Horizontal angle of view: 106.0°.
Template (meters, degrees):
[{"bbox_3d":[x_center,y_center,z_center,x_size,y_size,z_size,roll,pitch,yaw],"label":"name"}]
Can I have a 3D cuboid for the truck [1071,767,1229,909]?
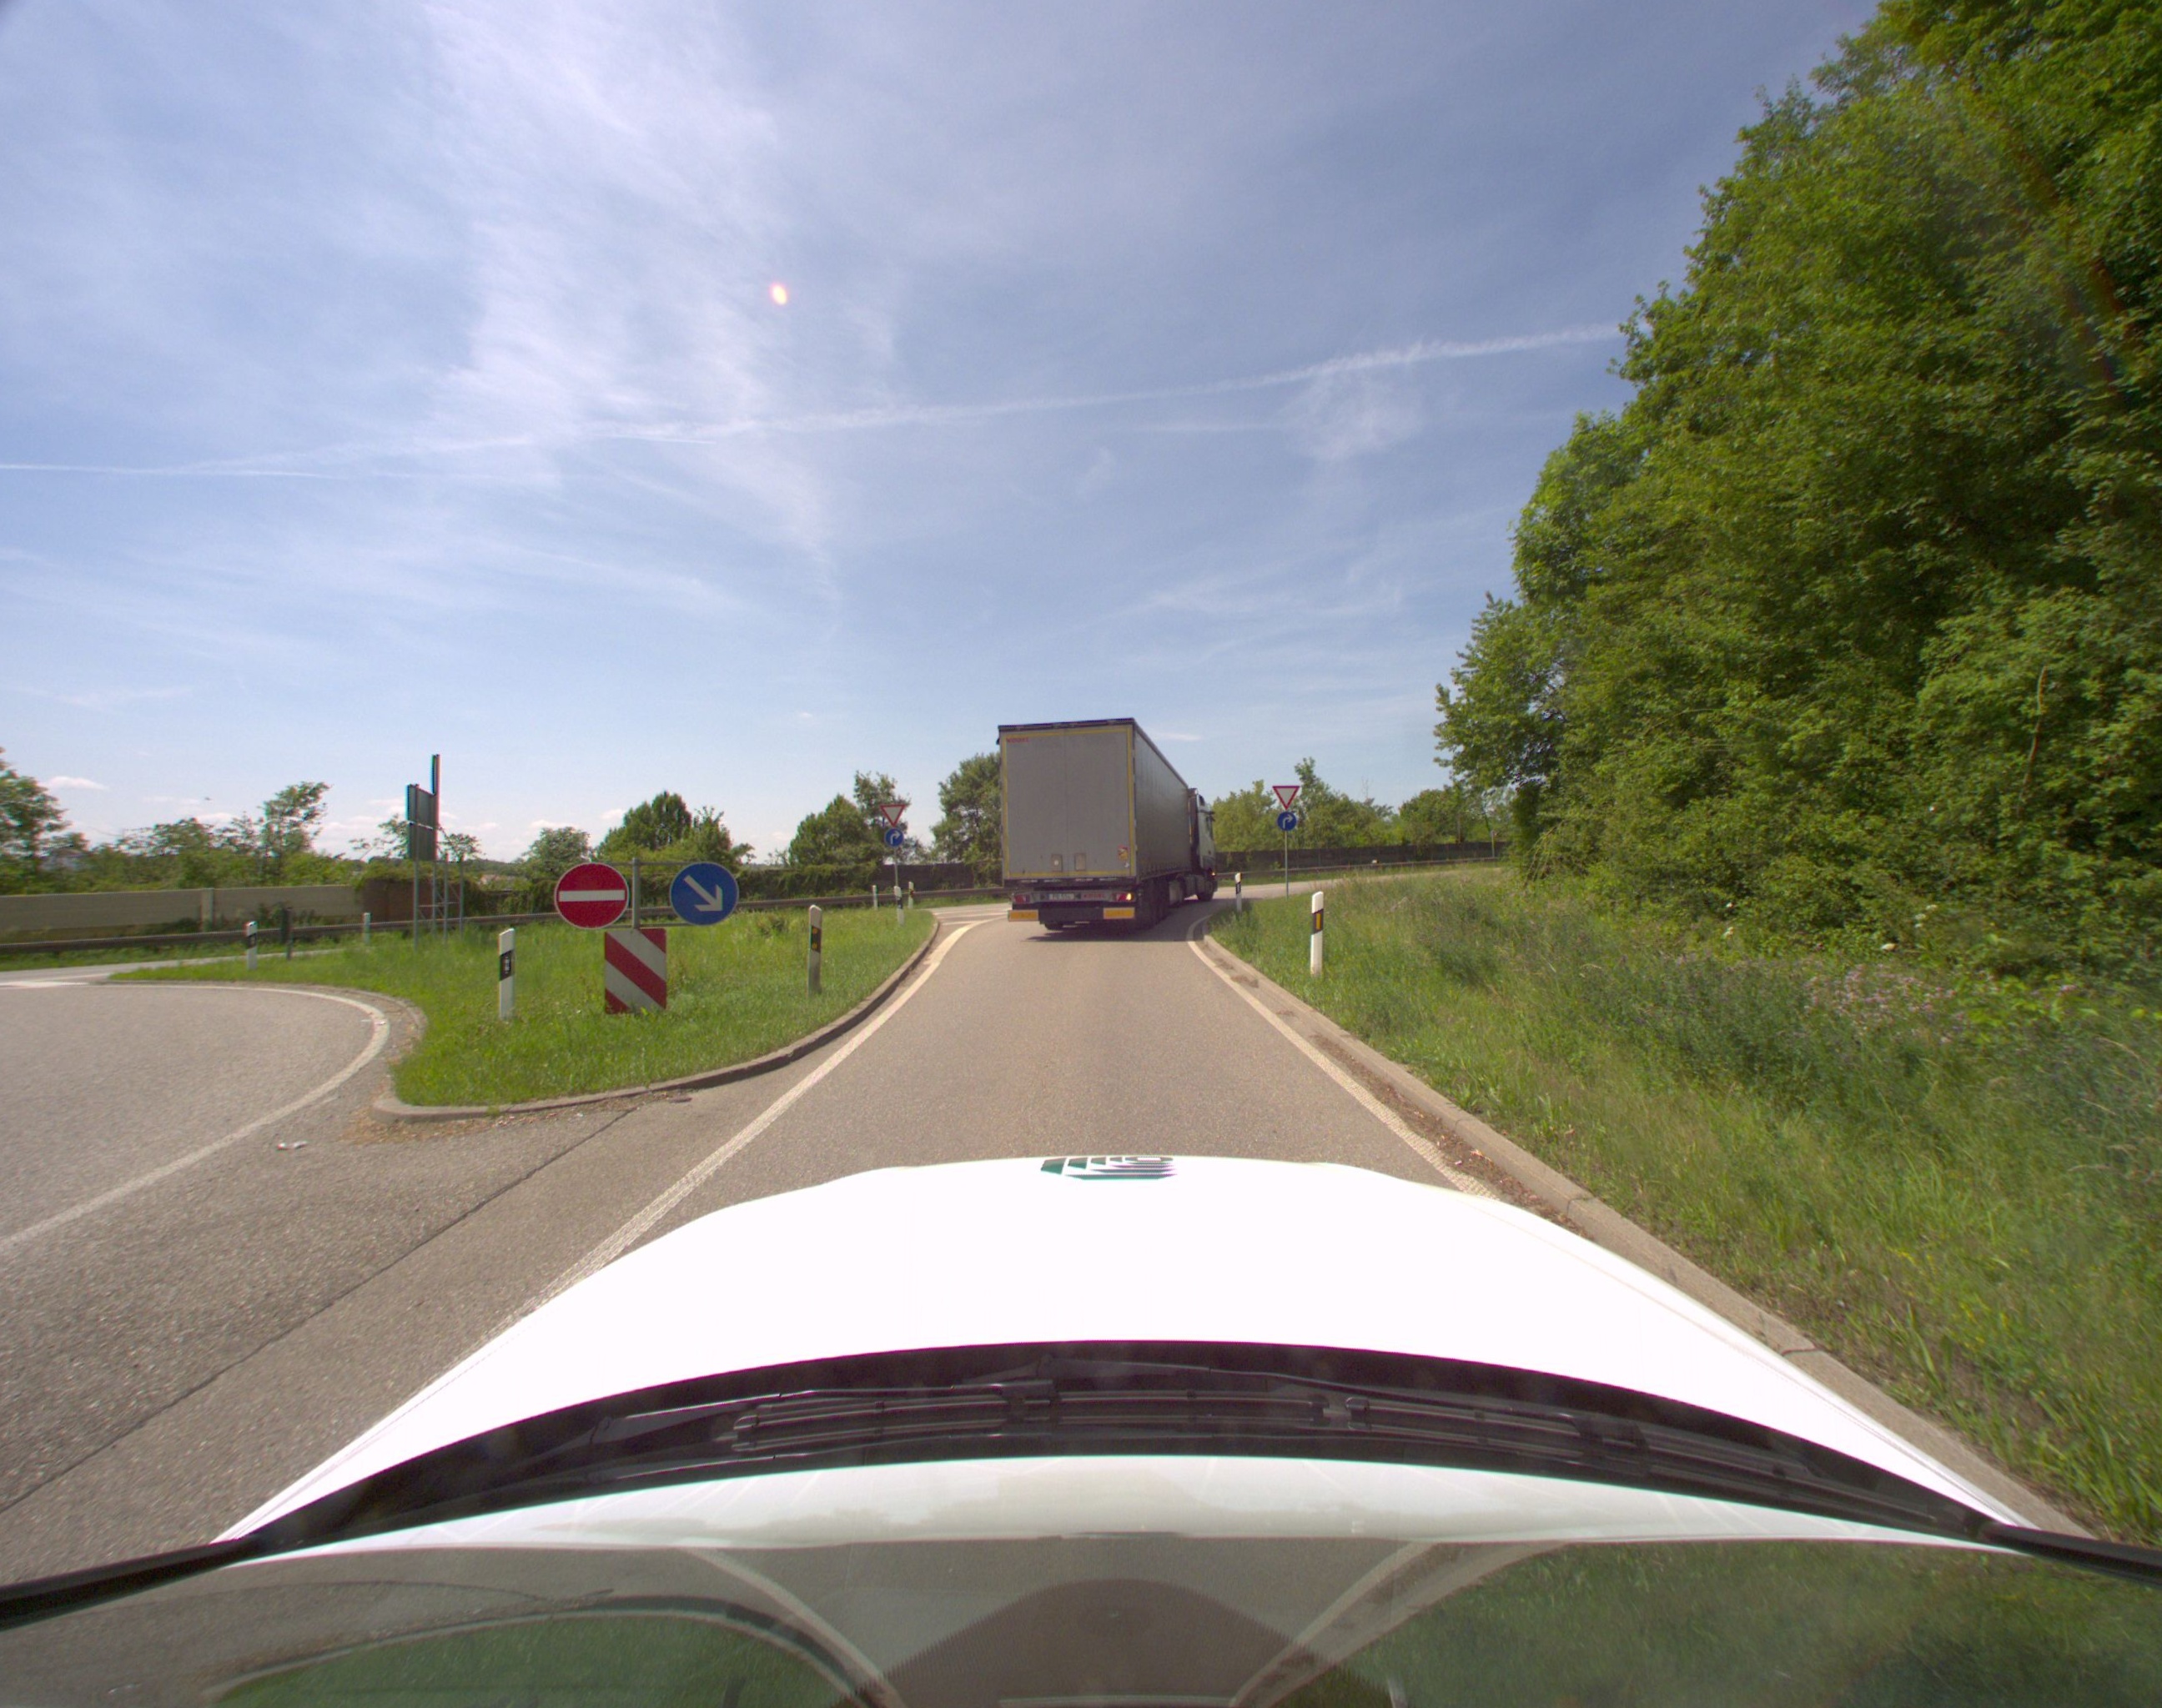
[{"bbox_3d":[2.645,-0.424,28.330,3.124,4.225,7.162,-3,-1,24],"label":"truck"}]

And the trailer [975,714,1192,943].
[{"bbox_3d":[0.898,-0.383,21.281,3.007,4.035,13.393,-2,-1,11],"label":"trailer"}]
